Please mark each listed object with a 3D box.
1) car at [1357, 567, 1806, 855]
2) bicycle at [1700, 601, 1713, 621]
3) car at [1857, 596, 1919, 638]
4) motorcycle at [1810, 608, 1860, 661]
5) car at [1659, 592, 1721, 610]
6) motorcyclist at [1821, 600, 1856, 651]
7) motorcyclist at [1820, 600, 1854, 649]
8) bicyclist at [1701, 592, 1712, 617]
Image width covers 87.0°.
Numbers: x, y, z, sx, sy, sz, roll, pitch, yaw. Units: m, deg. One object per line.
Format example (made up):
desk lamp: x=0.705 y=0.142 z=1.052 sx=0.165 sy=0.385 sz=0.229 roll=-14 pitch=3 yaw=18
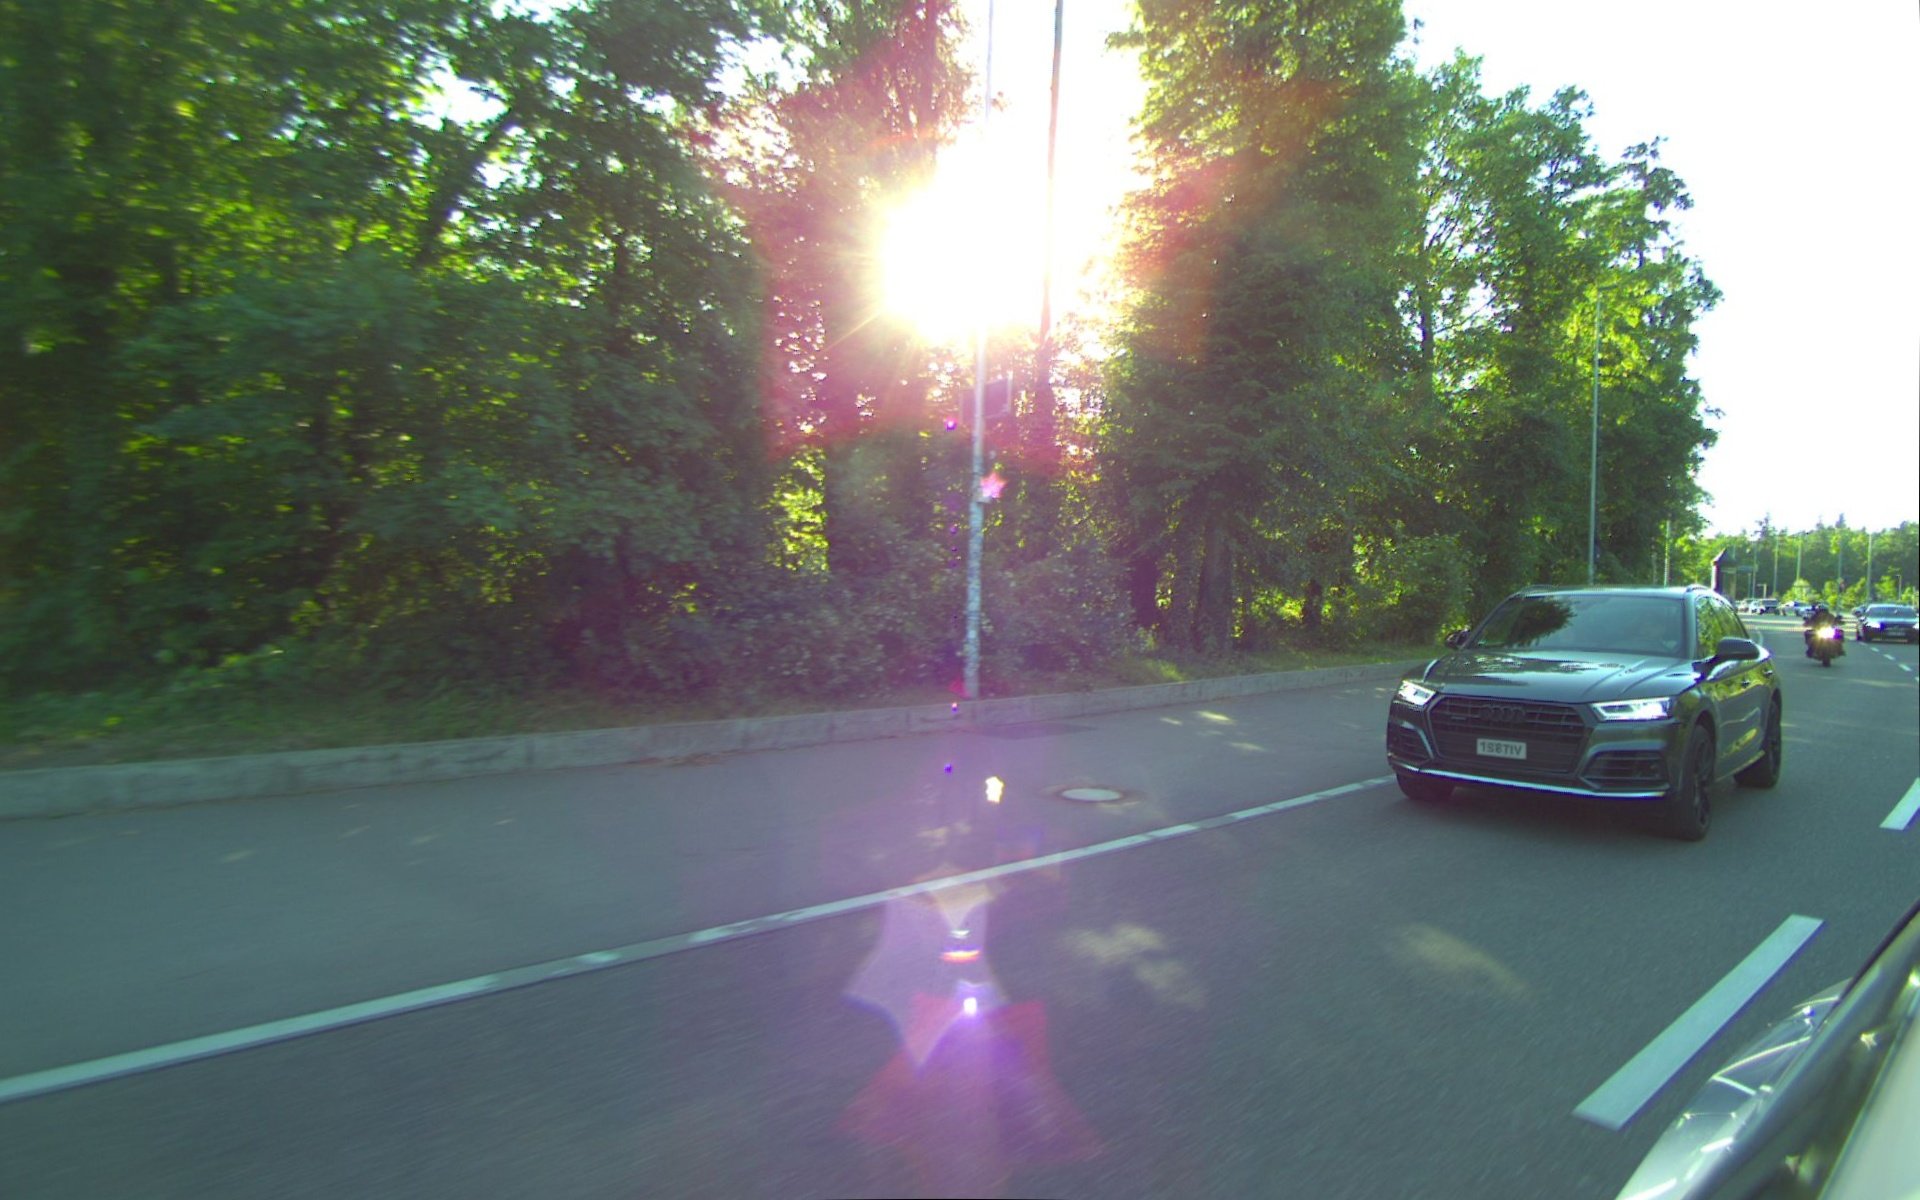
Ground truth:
car: x=5.071 y=0.626 z=7.963 sx=4.467 sy=1.625 sz=1.895 roll=0 pitch=0 yaw=-43
bicycle: x=44.842 y=0.673 z=60.795 sx=0.552 sy=1.151 sz=1.840 roll=1 pitch=0 yaw=35
car: x=37.488 y=0.651 z=40.385 sx=1.856 sy=1.566 sz=4.738 roll=1 pitch=1 yaw=34
motorcycle: x=22.784 y=0.851 z=26.327 sx=0.913 sy=1.266 sz=2.917 roll=2 pitch=1 yaw=42
car: x=66.687 y=0.045 z=92.499 sx=4.375 sy=1.395 sz=1.791 roll=4 pitch=3 yaw=45
motorcyclist: x=22.673 y=0.638 z=26.136 sx=0.669 sy=1.280 sz=0.813 roll=0 pitch=0 yaw=41
motorcyclist: x=23.219 y=0.635 z=26.804 sx=0.669 sy=1.280 sz=0.813 roll=0 pitch=0 yaw=41
bicyclist: x=44.915 y=0.276 z=60.898 sx=0.519 sy=1.487 sz=0.850 roll=1 pitch=0 yaw=35
